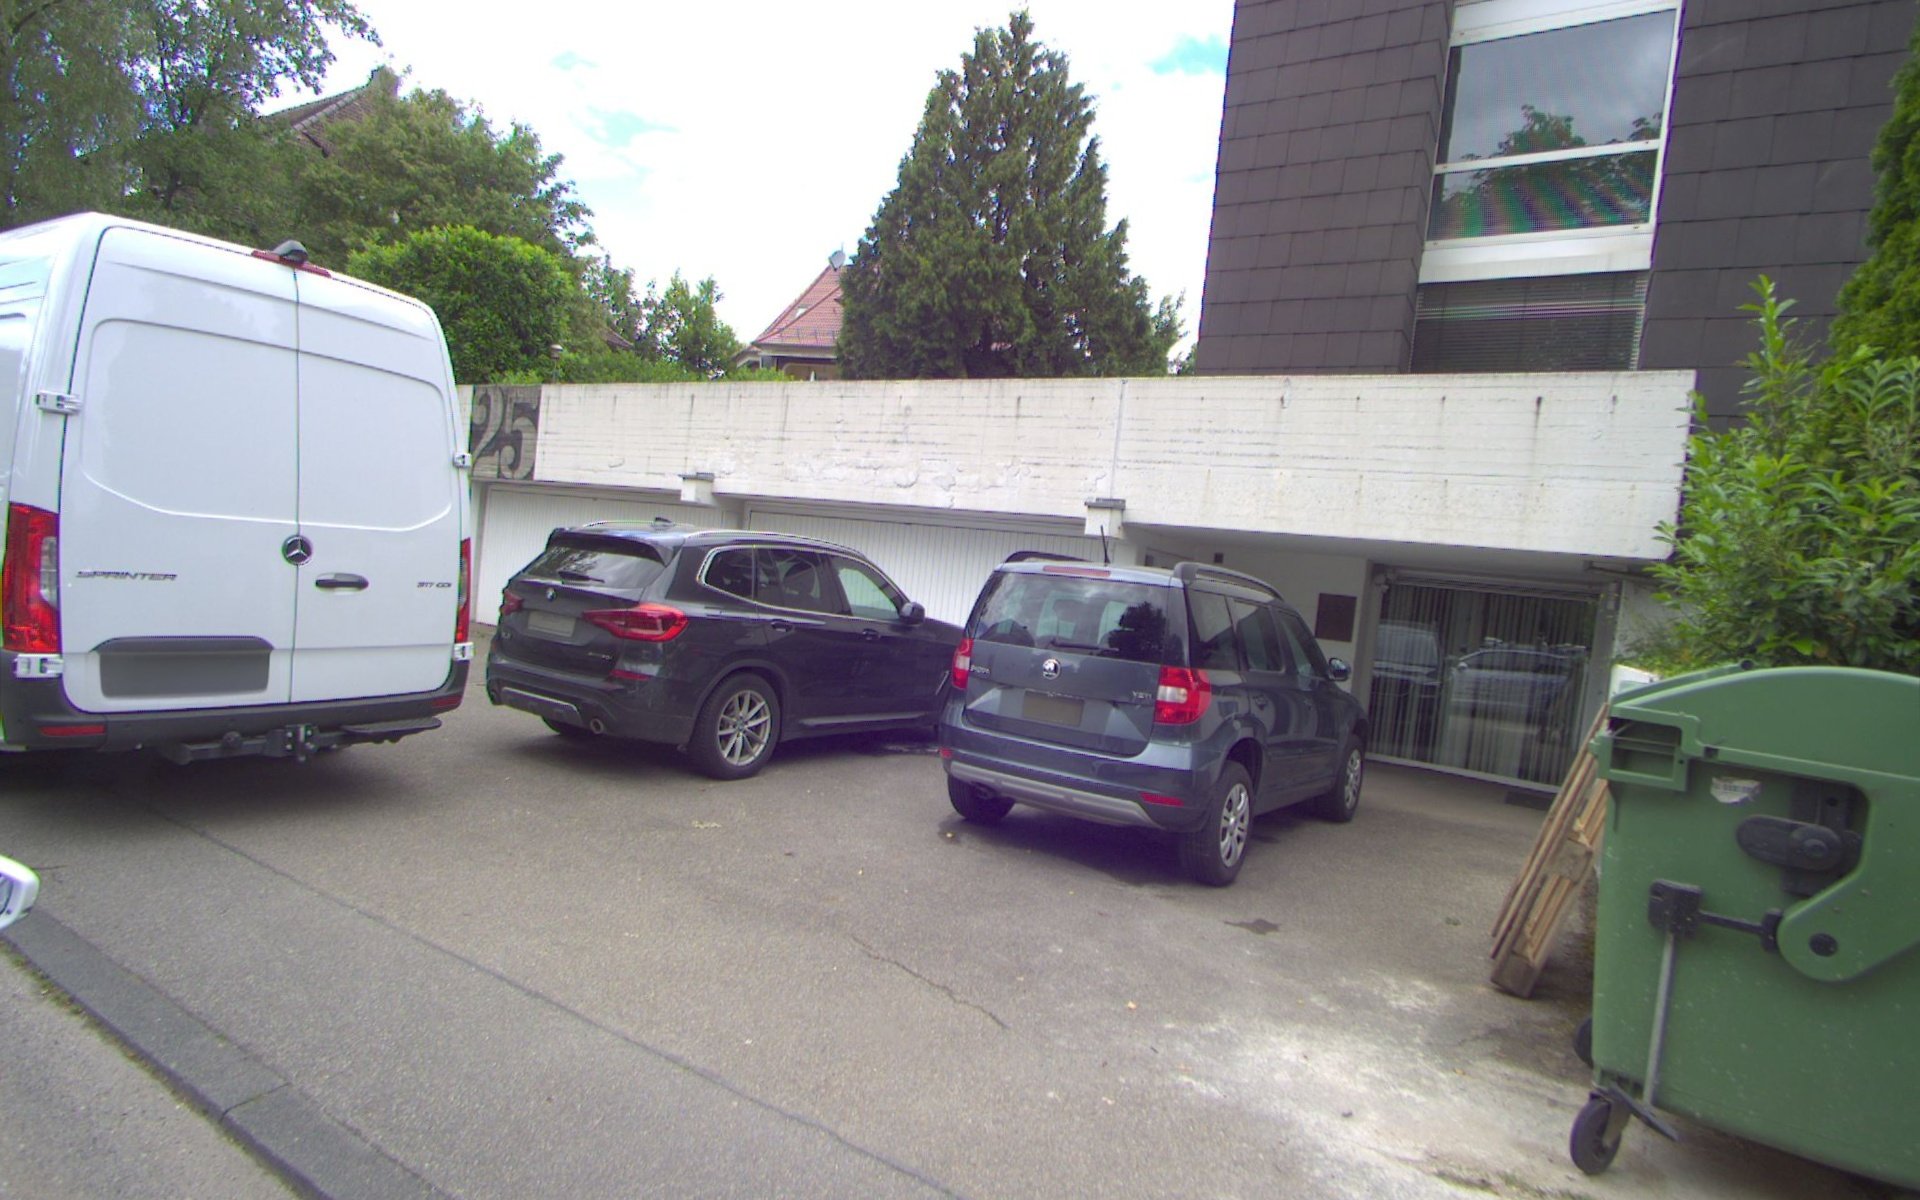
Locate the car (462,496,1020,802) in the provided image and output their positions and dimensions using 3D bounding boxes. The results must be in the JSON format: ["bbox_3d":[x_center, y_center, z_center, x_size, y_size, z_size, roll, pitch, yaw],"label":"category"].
[{"bbox_3d":[-1.364,0.329,8.032,1.668,1.696,4.383,6,1,32],"label":"car"}]

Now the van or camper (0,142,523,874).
[{"bbox_3d":[-5.620,-0.593,6.210,6.436,2.662,1.990,6,4,32],"label":"van or camper"}]

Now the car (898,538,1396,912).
[{"bbox_3d":[1.526,0.649,6.793,1.717,1.673,3.899,6,1,35],"label":"car"}]

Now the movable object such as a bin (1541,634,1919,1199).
[{"bbox_3d":[2.452,0.908,2.973,1.098,1.469,1.405,6,1,32],"label":"movable object such as a bin"}]
